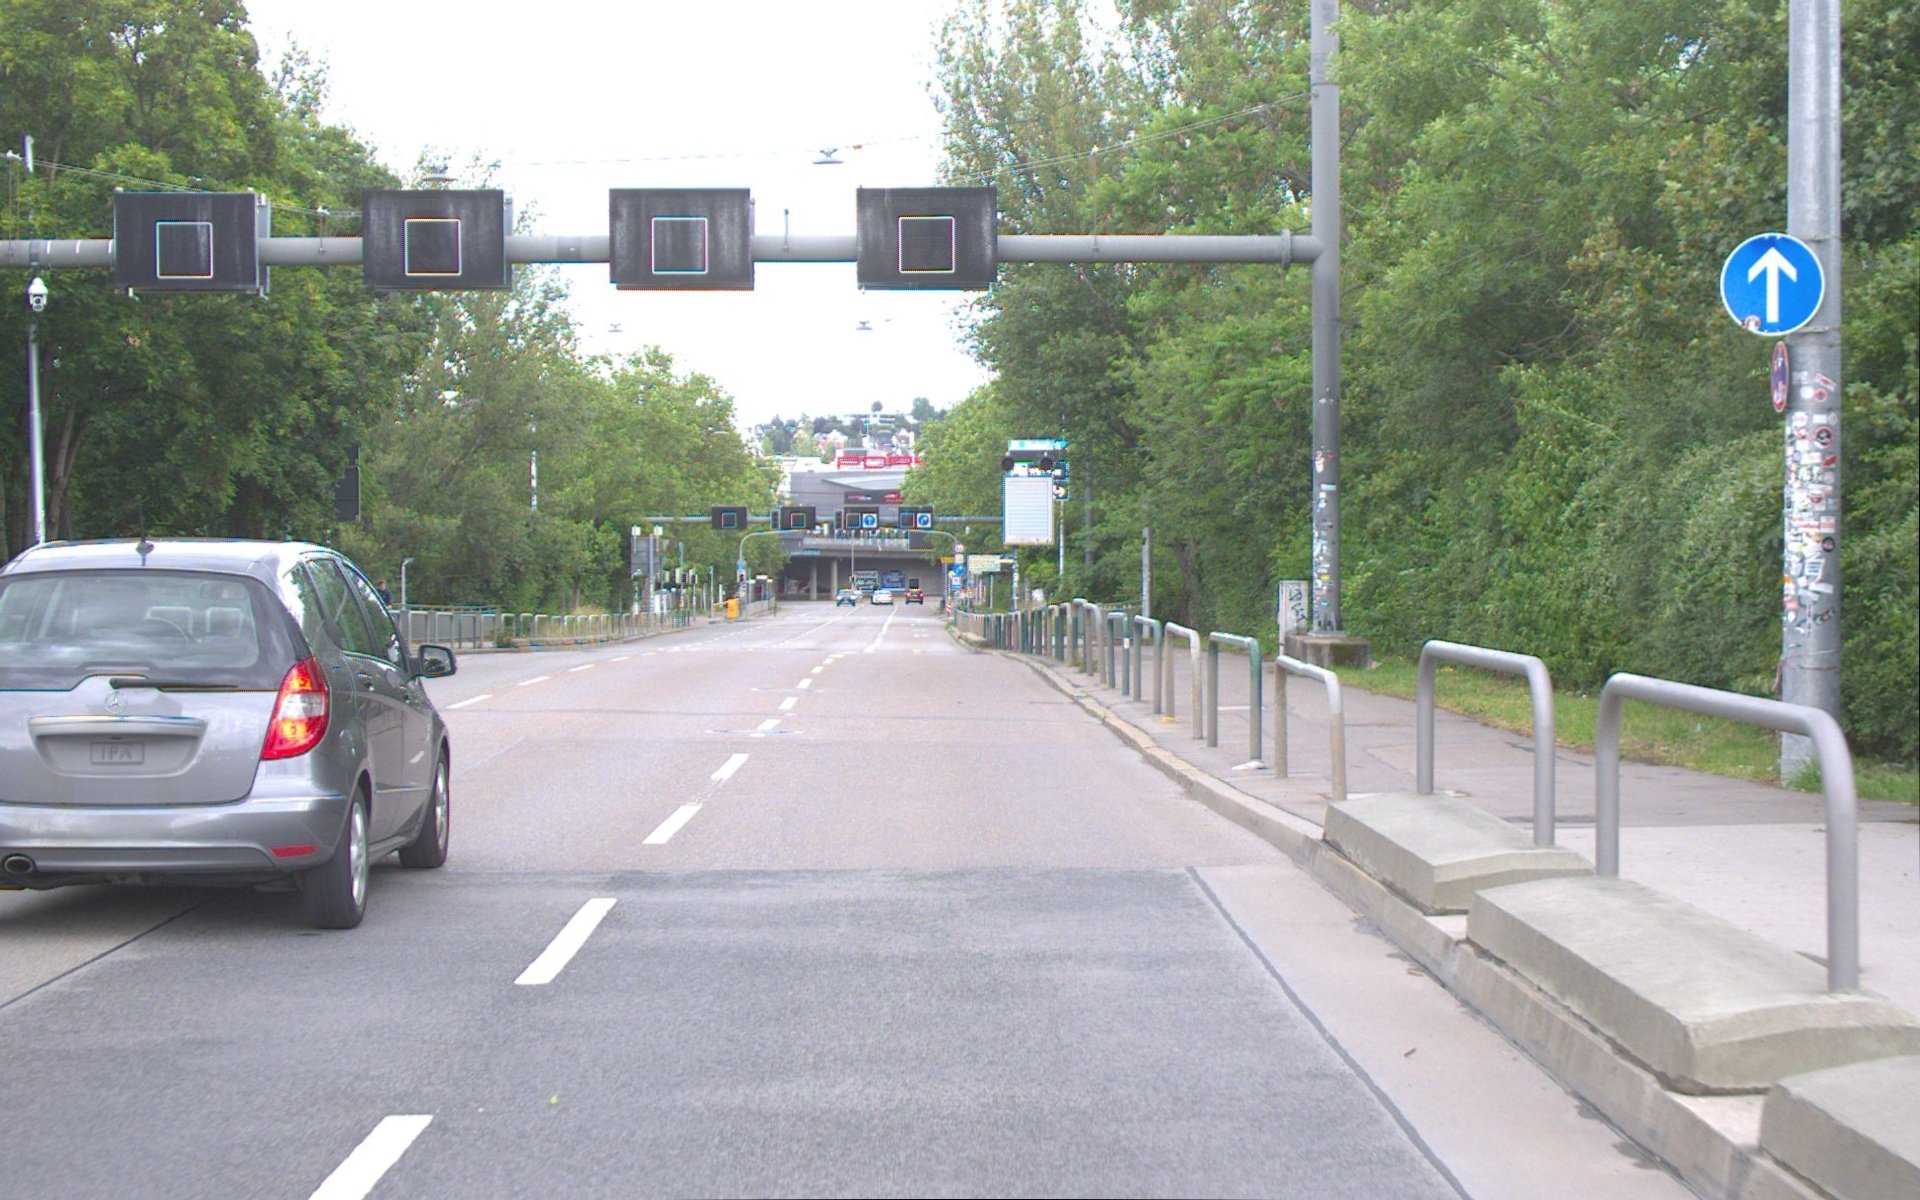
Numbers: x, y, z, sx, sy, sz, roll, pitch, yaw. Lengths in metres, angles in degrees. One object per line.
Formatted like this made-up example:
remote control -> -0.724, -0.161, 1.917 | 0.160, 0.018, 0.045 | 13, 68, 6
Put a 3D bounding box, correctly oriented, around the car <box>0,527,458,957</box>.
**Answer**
car -> -3.296, 0.499, 14.900 | 1.745, 1.545, 3.872 | 1, 2, -1
